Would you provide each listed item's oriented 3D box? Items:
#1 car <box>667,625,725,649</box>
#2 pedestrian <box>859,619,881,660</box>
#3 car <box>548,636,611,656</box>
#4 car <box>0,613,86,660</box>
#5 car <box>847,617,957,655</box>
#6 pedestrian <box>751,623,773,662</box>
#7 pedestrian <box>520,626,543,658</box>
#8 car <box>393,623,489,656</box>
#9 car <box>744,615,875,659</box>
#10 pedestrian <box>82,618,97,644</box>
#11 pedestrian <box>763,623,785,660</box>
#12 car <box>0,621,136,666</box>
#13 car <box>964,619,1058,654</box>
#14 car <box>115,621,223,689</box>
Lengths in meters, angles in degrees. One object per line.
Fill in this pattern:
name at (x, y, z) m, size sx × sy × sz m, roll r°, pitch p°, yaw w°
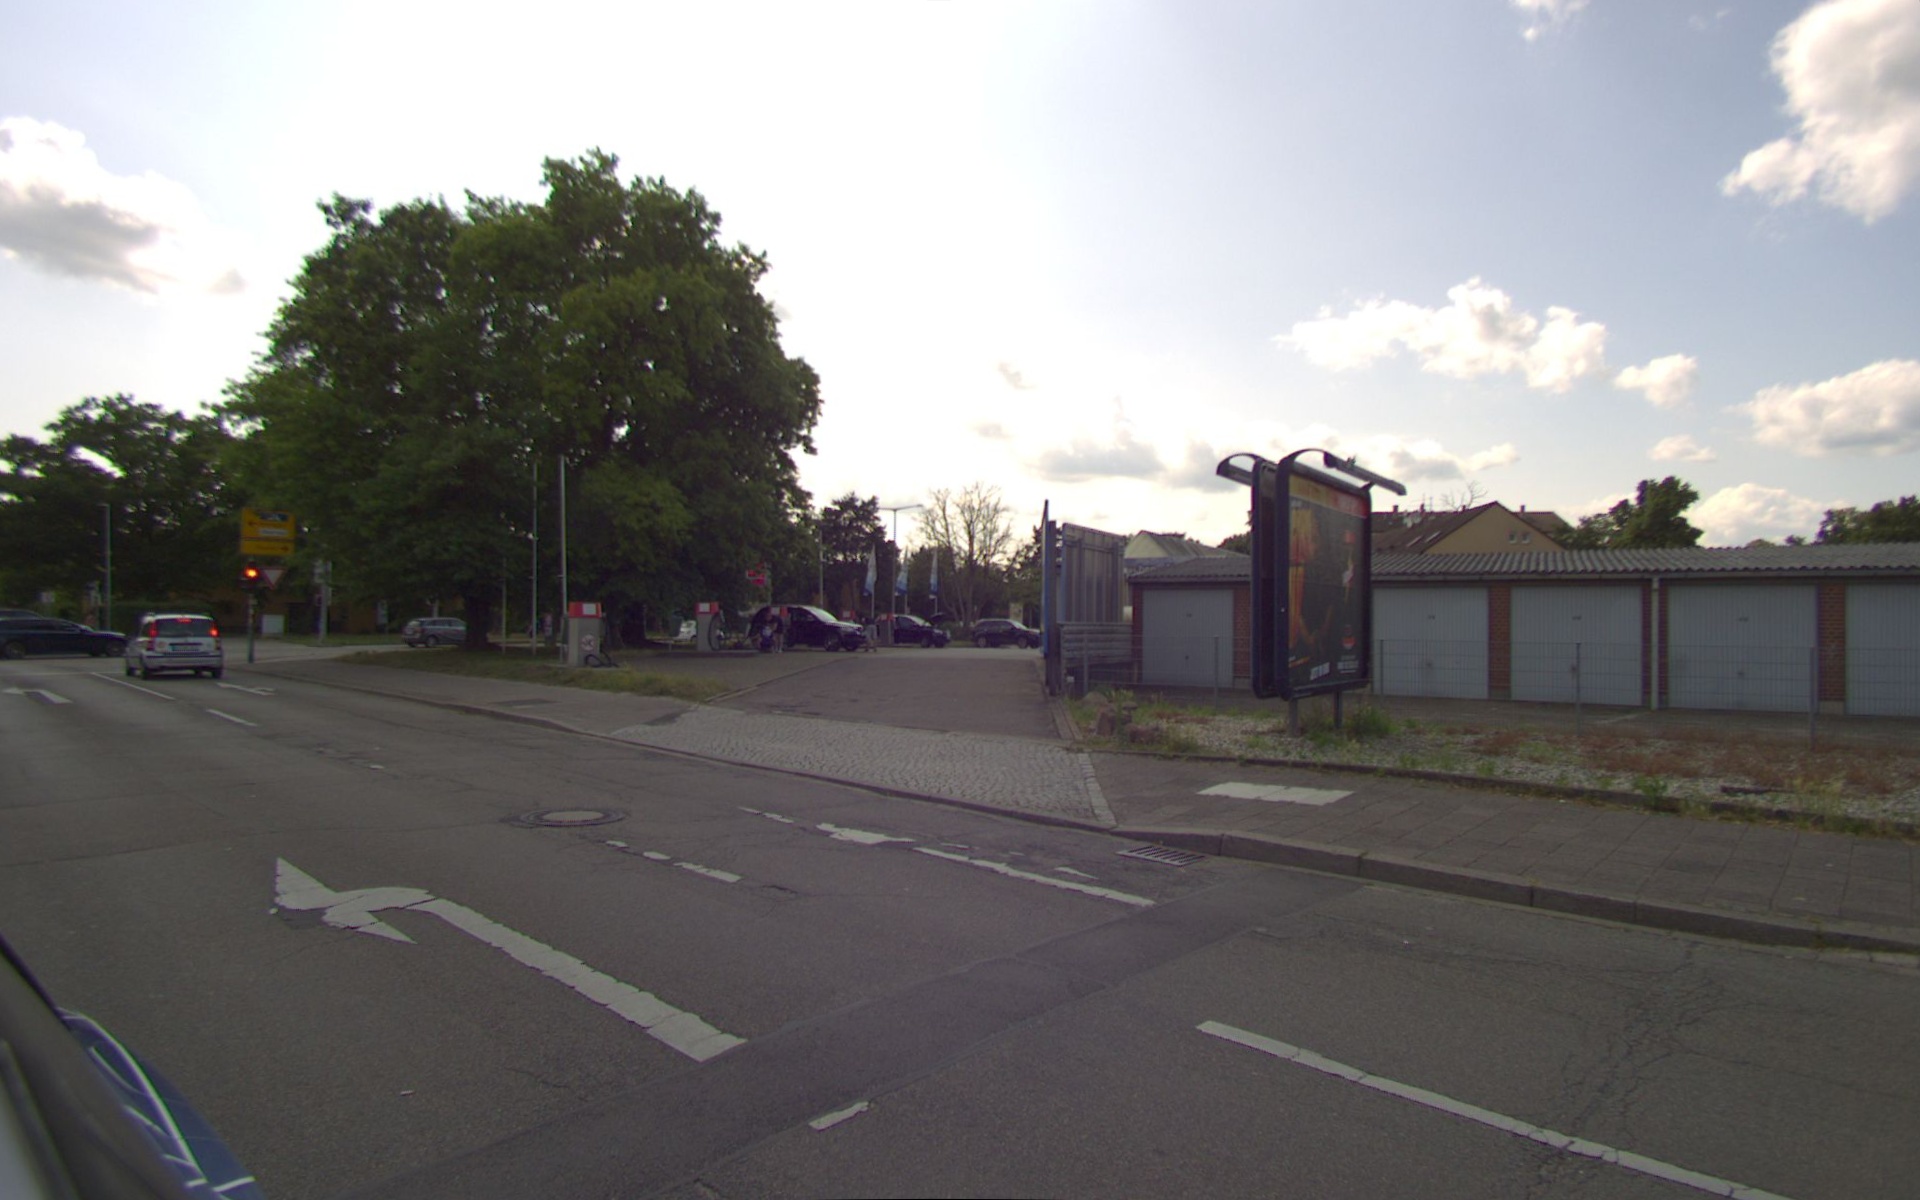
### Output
car at (-17.073, 2.393, 65.499) m, size 1.570 × 1.508 × 3.501 m, roll -1°, pitch -2°, yaw 32°
pedestrian at (-3.417, 1.510, 38.483) m, size 0.559 × 1.506 × 0.615 m, roll 2°, pitch -2°, yaw 23°
car at (-29.010, 3.479, 77.289) m, size 1.722 × 1.473 × 4.488 m, roll -1°, pitch -2°, yaw 30°
car at (-36.597, 1.368, 38.653) m, size 1.812 × 1.759 × 4.503 m, roll 1°, pitch -2°, yaw 30°
car at (-2.935, 1.778, 51.068) m, size 5.159 × 1.841 × 2.139 m, roll 0°, pitch -2°, yaw 21°
pedestrian at (-6.610, 1.412, 33.770) m, size 0.634 × 1.265 × 0.768 m, roll 3°, pitch -2°, yaw -13°
pedestrian at (-21.428, 2.099, 50.621) m, size 0.720 × 1.543 × 0.756 m, roll 0°, pitch -2°, yaw 14°
car at (-27.466, 2.077, 53.681) m, size 1.697 × 1.631 × 4.315 m, roll 1°, pitch -2°, yaw 30°
car at (-5.761, 1.386, 38.835) m, size 4.530 × 1.608 × 2.139 m, roll 0°, pitch -2°, yaw 21°
pedestrian at (-57.473, 2.047, 66.827) m, size 0.681 × 1.755 × 0.706 m, roll 2°, pitch -3°, yaw -37°
pedestrian at (-6.367, 1.418, 34.636) m, size 0.634 × 1.199 × 0.768 m, roll 3°, pitch -2°, yaw -13°
car at (-33.385, 1.590, 36.890) m, size 1.795 × 1.508 × 4.823 m, roll 2°, pitch -2°, yaw 30°
car at (3.020, 2.179, 60.266) m, size 5.172 × 2.019 × 2.134 m, roll -1°, pitch -2°, yaw 28°
car at (-19.329, 1.298, 24.687) m, size 3.609 × 1.528 × 1.537 m, roll -1°, pitch -2°, yaw 44°
